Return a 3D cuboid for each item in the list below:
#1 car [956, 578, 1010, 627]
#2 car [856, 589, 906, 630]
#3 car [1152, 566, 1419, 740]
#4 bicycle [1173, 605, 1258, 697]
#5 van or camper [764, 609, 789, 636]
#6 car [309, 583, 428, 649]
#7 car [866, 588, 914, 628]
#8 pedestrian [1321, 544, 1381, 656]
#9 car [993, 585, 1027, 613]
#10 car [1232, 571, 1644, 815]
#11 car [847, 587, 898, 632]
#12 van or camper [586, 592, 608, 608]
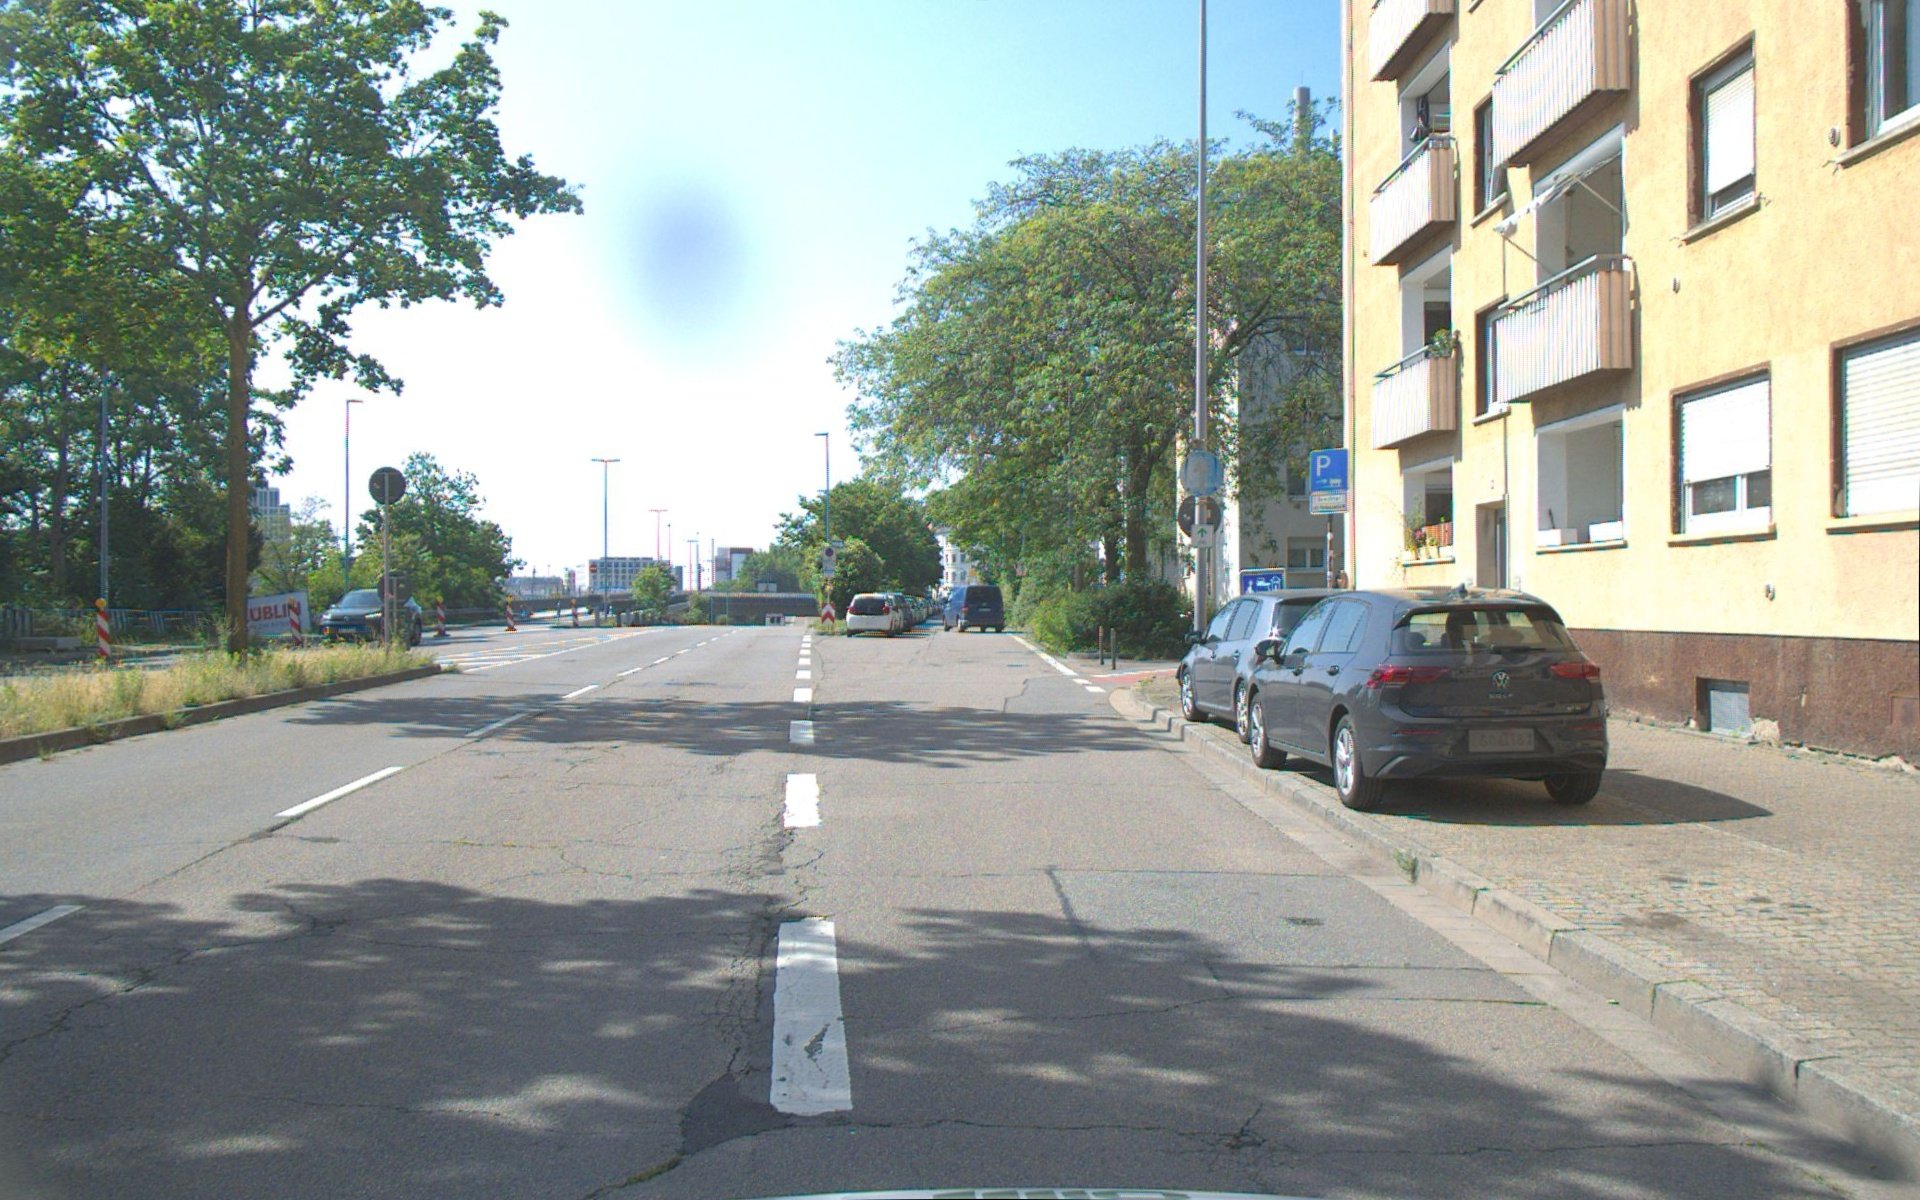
[{"bbox_3d":[0.936,0.091,69.586,1.846,1.955,4.004,1,1,-5],"label":"car"},{"bbox_3d":[-2.994,0.343,63.510,1.686,1.531,4.132,0,0,0],"label":"car"},{"bbox_3d":[3.273,0.454,17.446,1.670,1.540,4.088,-3,1,-5],"label":"car"},{"bbox_3d":[3.405,0.660,22.151,0.689,1.143,1.743,-1,0,-6],"label":"bicycle"},{"bbox_3d":[-20.530,2.482,185.142,2.250,2.838,5.570,-1,0,-1],"label":"van or camper"},{"bbox_3d":[-16.887,0.406,47.466,1.954,1.764,4.726,-1,0,-4],"label":"car"},{"bbox_3d":[-2.954,0.301,69.033,1.737,1.607,4.181,-1,0,-6],"label":"car"},{"bbox_3d":[5.920,-0.006,25.044,0.642,1.637,0.824,-3,1,0],"label":"pedestrian"},{"bbox_3d":[2.740,-0.080,91.730,1.691,1.445,4.000,-2,0,0],"label":"car"},{"bbox_3d":[3.372,0.558,12.555,1.677,1.487,4.253,-1,1,-3],"label":"car"},{"bbox_3d":[-3.072,0.323,58.842,1.586,1.531,3.461,-1,0,0],"label":"car"},{"bbox_3d":[-32.209,0.014,146.844,1.438,1.373,4.625,-1,0,-6],"label":"van or camper"}]
